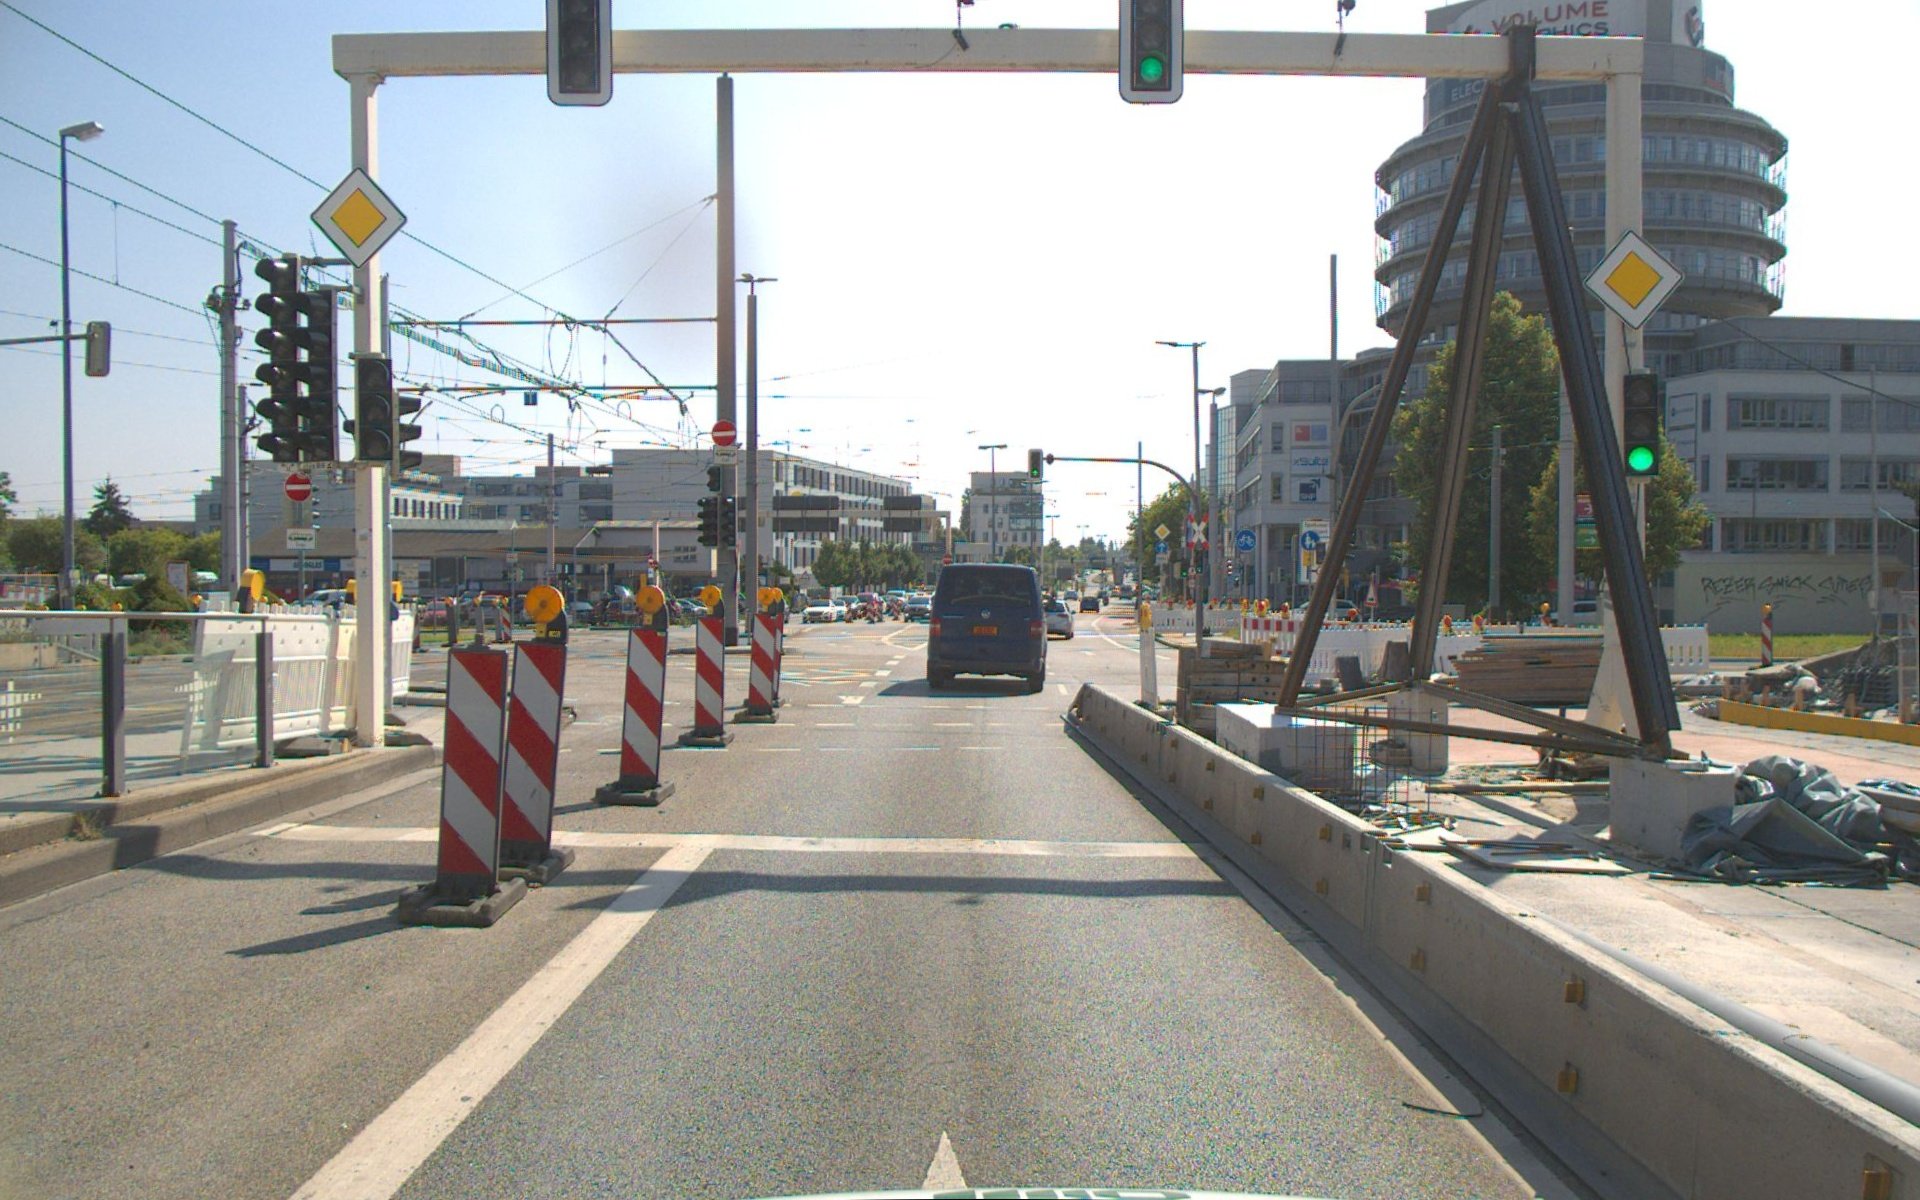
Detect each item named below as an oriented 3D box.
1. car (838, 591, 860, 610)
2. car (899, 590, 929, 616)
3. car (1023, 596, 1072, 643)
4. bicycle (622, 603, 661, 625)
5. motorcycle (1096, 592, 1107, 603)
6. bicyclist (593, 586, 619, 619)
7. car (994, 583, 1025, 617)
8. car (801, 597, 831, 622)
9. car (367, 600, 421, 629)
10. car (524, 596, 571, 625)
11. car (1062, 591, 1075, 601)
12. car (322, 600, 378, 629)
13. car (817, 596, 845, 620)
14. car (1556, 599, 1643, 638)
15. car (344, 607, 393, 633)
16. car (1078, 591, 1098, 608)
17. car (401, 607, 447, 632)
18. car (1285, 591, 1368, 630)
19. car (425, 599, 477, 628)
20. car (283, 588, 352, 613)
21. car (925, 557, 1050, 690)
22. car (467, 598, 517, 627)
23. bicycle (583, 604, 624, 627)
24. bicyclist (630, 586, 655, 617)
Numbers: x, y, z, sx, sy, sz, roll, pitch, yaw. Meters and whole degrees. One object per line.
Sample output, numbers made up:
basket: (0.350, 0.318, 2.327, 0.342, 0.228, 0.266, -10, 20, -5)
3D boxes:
car: (-9.250, 0.015, 137.939, 1.712, 1.512, 3.998, 0, 1, -3)
car: (-2.837, 0.180, 101.491, 1.712, 1.556, 3.998, 0, 1, -3)
car: (3.342, 0.738, 63.789, 1.650, 1.634, 3.616, 2, 1, -1)
bicycle: (-16.746, 0.754, 87.093, 0.863, 1.088, 2.809, 4, 0, 13)
motorcycle: (16.626, -0.324, 194.185, 1.137, 1.264, 3.010, 1, 0, 6)
bicyclist: (-18.176, 0.117, 84.954, 0.857, 1.606, 0.970, 4, 0, 13)
car: (2.722, -0.004, 91.973, 1.611, 1.758, 4.001, 2, 1, 1)
car: (-9.042, 0.586, 103.851, 1.712, 1.507, 3.998, 0, 1, -3)
car: (-32.761, 0.846, 95.892, 1.741, 1.565, 4.000, -2, 0, -1)
car: (-24.104, 0.599, 96.765, 1.741, 1.565, 4.000, 1, 0, -1)
car: (15.874, -0.568, 241.565, 1.517, 1.363, 3.014, 1, 0, -3)
car: (-35.456, 0.818, 96.194, 1.741, 1.565, 4.000, -2, 0, -1)
car: (-8.566, 0.505, 109.984, 1.712, 1.512, 3.998, 0, 1, -3)
car: (32.706, 0.937, 84.651, 3.736, 1.829, 1.681, 1, 1, -1)
car: (-38.807, 1.274, 108.623, 1.741, 1.565, 4.000, -2, 0, -1)
car: (11.291, -0.049, 145.467, 1.707, 1.501, 3.887, 1, 0, 4)
car: (-35.502, 1.280, 109.571, 1.741, 1.565, 4.000, -2, 0, -1)
car: (18.551, 0.541, 83.794, 3.736, 1.829, 1.681, 1, 1, -1)
car: (-29.510, 0.752, 96.018, 1.741, 1.565, 4.000, -2, 0, -1)
car: (-43.551, 0.056, 112.108, 3.969, 1.565, 1.755, -2, 1, -44)
car: (0.443, 0.311, 27.140, 1.849, 1.967, 4.001, 2, 1, 0)
car: (-26.905, 0.689, 95.178, 1.741, 1.565, 4.000, -2, 0, -1)
bicycle: (-18.246, 0.783, 84.781, 0.863, 1.088, 2.809, 4, 0, 13)
bicyclist: (-16.712, 0.085, 87.074, 0.857, 1.606, 0.970, 4, 0, 13)
